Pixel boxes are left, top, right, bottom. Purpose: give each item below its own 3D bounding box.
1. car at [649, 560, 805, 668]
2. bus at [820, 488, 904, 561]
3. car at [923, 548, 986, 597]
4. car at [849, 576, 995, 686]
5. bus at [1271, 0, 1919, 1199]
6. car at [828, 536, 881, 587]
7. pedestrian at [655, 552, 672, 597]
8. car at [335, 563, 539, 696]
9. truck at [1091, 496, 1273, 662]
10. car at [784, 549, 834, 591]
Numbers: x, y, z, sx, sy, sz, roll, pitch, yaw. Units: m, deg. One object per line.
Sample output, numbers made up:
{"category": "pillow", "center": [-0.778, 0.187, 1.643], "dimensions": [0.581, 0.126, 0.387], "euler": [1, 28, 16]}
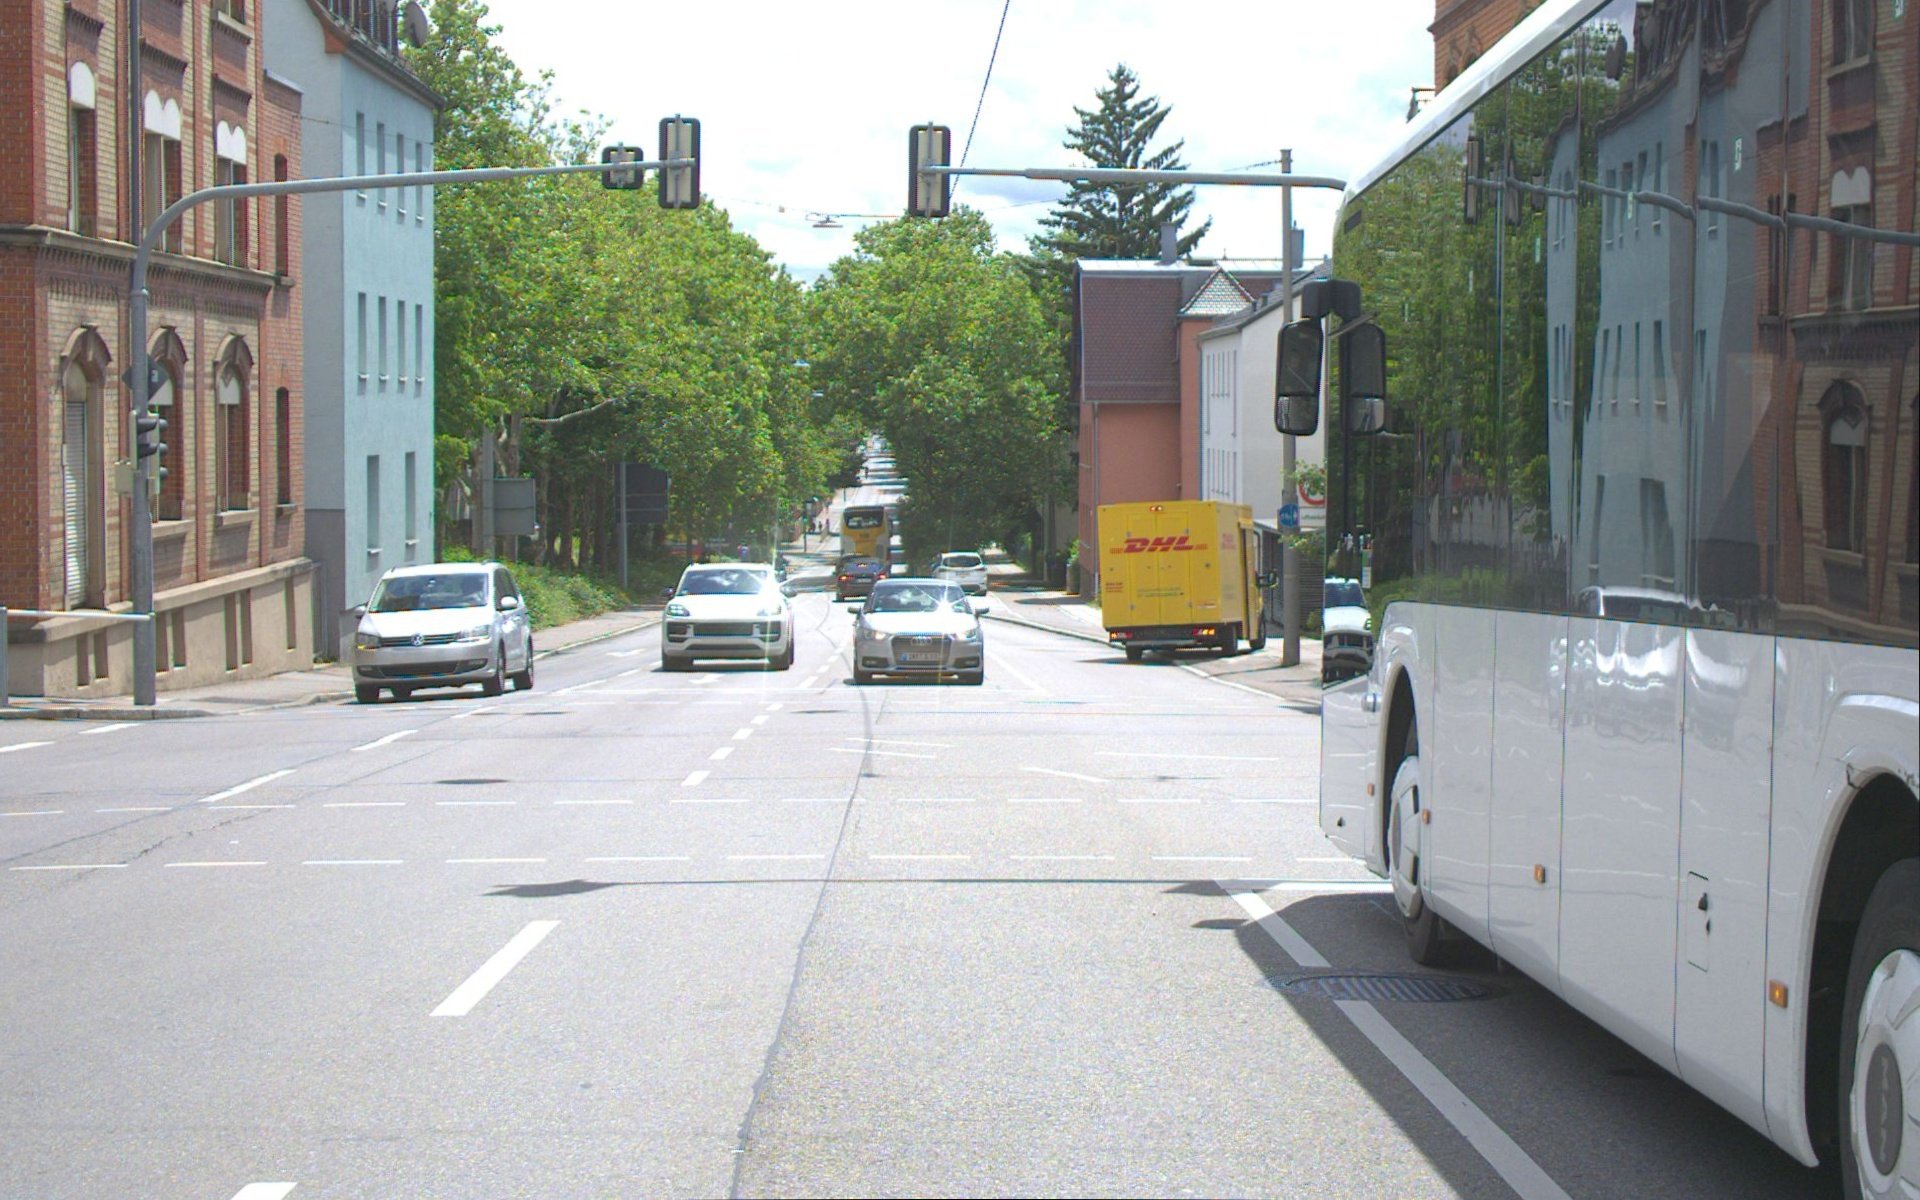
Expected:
{"category": "car", "center": [-3.665, 0.183, 54.798], "dimensions": [2.207, 1.607, 4.547], "euler": [-1, 1, -1]}
{"category": "bus", "center": [-5.181, -3.907, 179.251], "dimensions": [3.300, 3.618, 11.247], "euler": [-1, 1, -7]}
{"category": "car", "center": [-0.235, -1.049, 129.599], "dimensions": [2.091, 1.824, 4.143], "euler": [0, 1, -4]}
{"category": "car", "center": [-0.514, 0.390, 46.659], "dimensions": [1.865, 1.363, 4.547], "euler": [-1, 1, -1]}
{"category": "bus", "center": [2.956, -0.241, 9.305], "dimensions": [2.904, 3.498, 12.488], "euler": [1, 1, -1]}
{"category": "car", "center": [-3.777, -1.394, 123.383], "dimensions": [1.819, 1.778, 4.000], "euler": [-1, 1, -1]}
{"category": "pedestrian", "center": [-11.791, -1.017, 136.568], "dimensions": [0.606, 1.752, 0.654], "euler": [-1, 1, -2]}
{"category": "car", "center": [-6.526, 0.332, 43.331], "dimensions": [1.935, 1.558, 4.389], "euler": [-1, 1, -1]}
{"category": "truck", "center": [4.221, -0.397, 64.086], "dimensions": [2.542, 2.903, 6.569], "euler": [1, 1, 11]}
{"category": "car", "center": [-6.700, -1.353, 152.136], "dimensions": [2.091, 1.824, 4.143], "euler": [0, 1, -4]}
